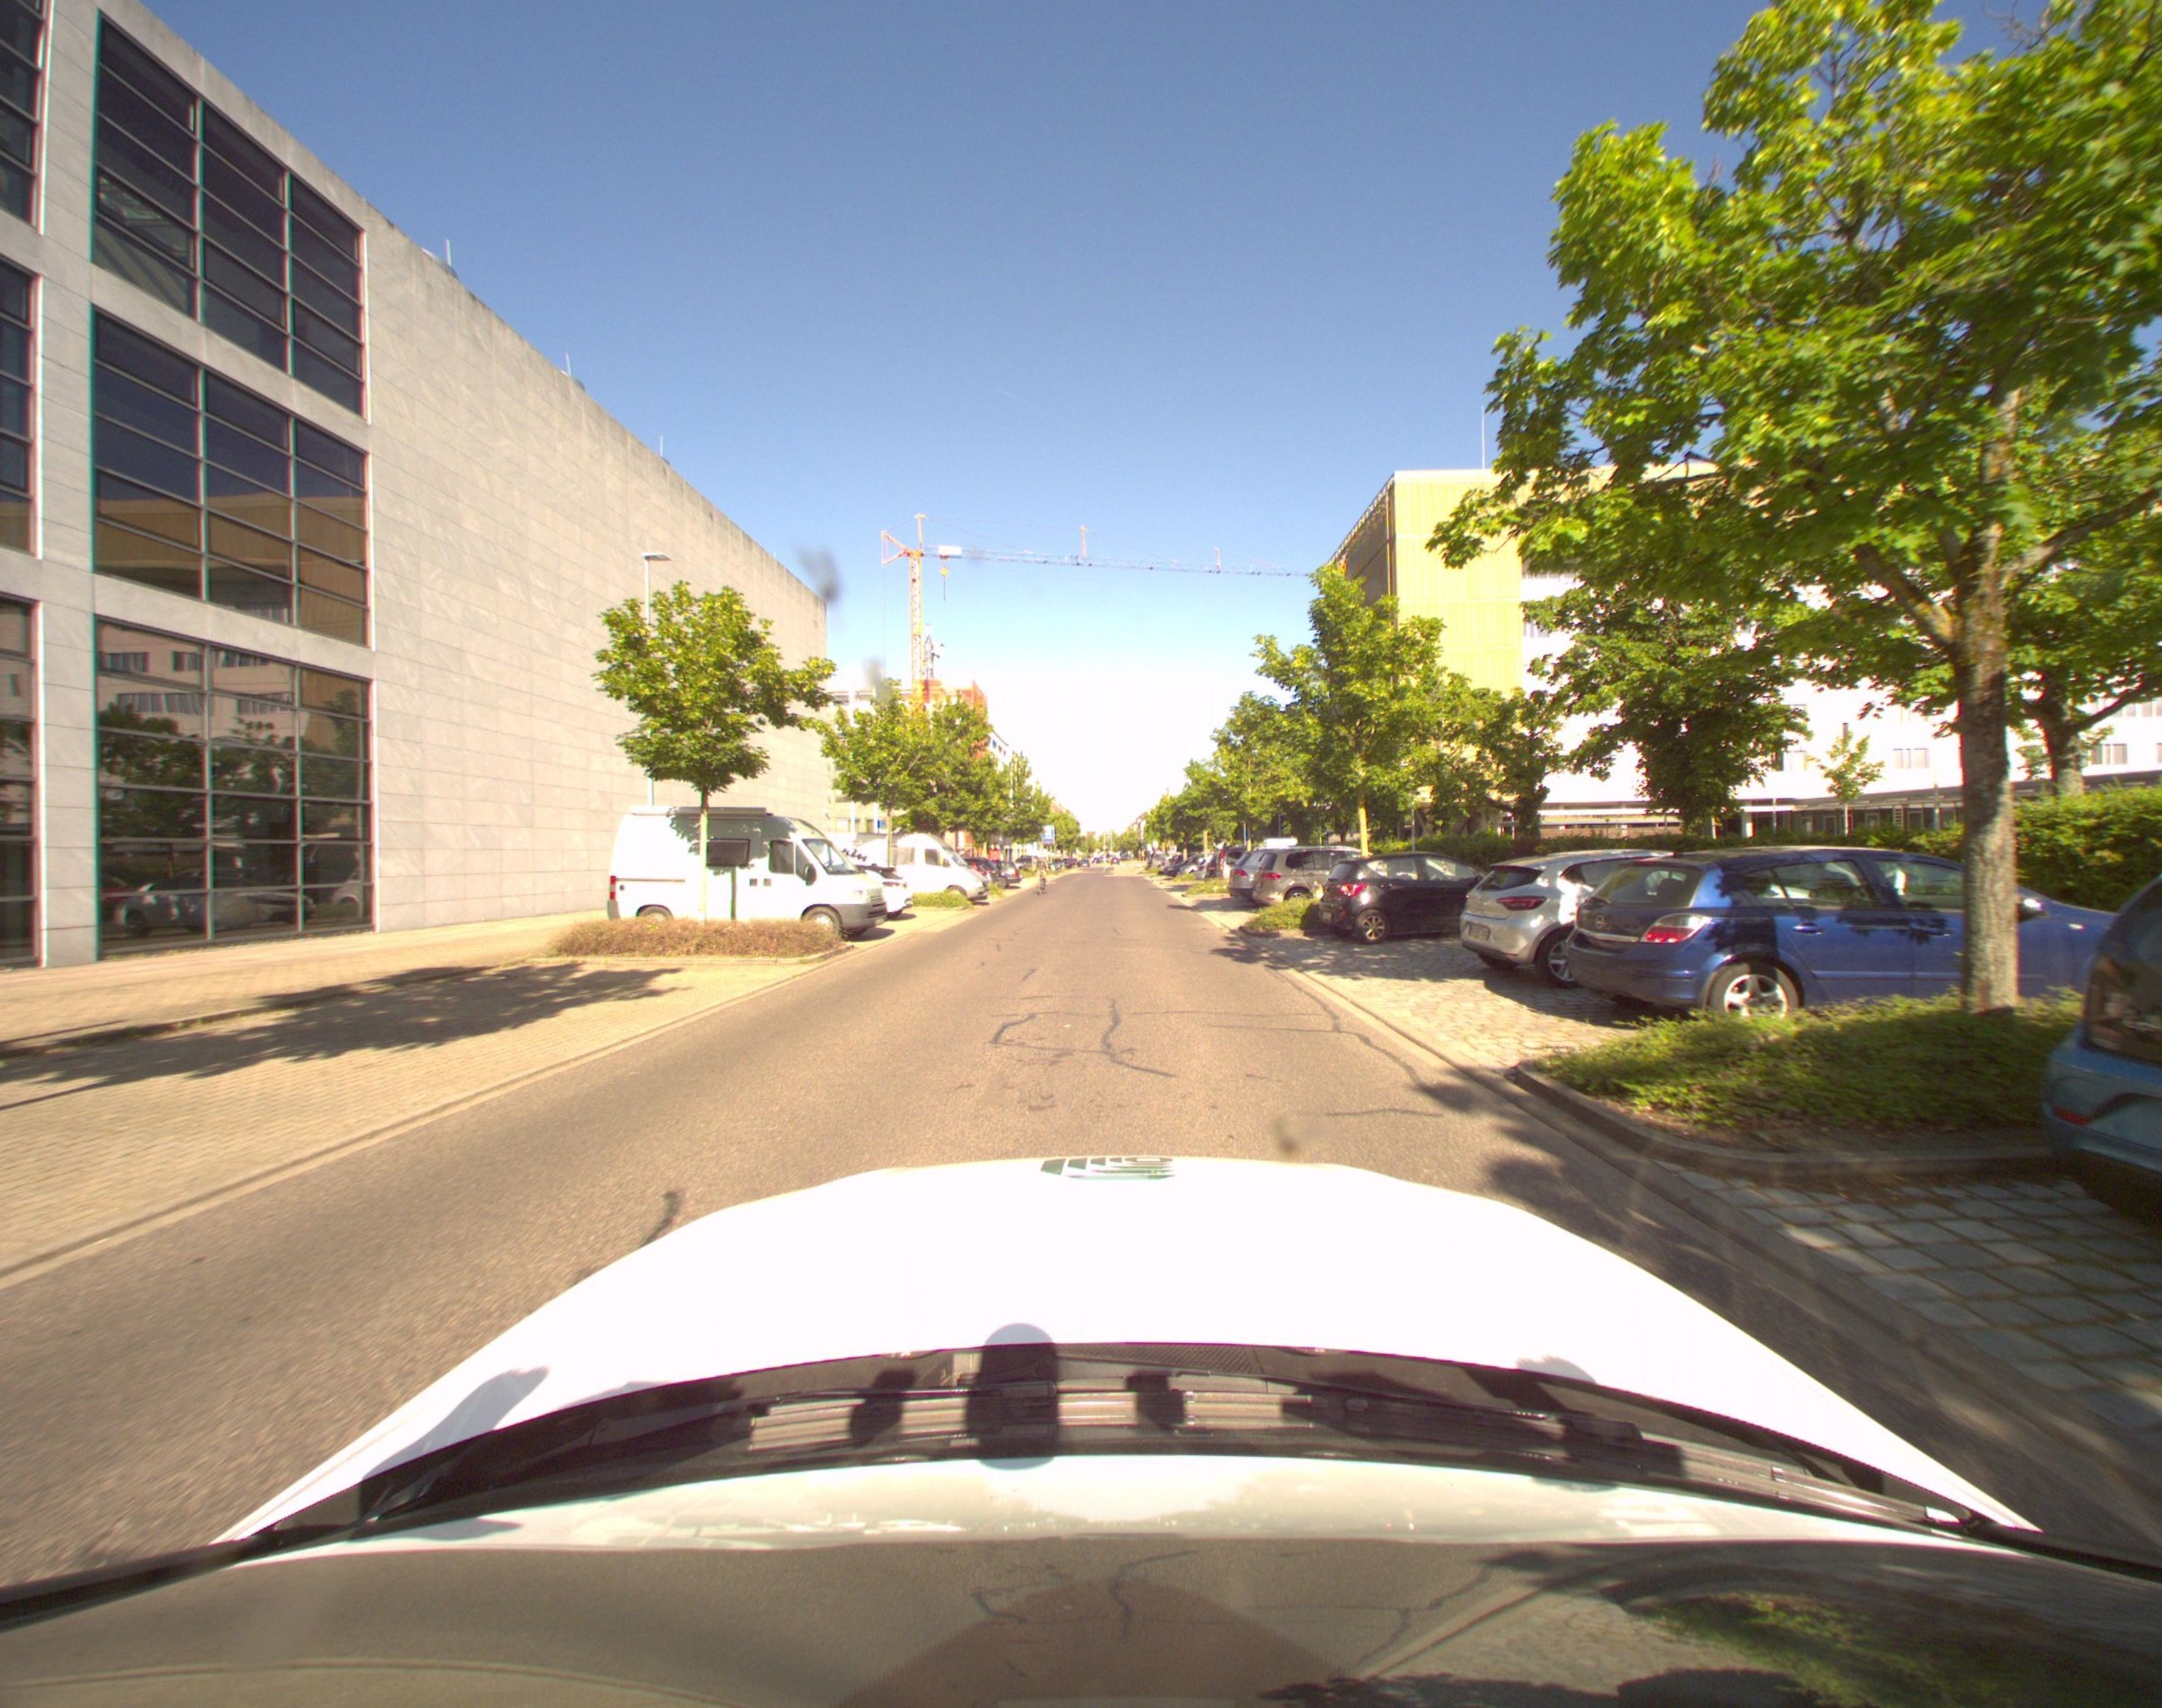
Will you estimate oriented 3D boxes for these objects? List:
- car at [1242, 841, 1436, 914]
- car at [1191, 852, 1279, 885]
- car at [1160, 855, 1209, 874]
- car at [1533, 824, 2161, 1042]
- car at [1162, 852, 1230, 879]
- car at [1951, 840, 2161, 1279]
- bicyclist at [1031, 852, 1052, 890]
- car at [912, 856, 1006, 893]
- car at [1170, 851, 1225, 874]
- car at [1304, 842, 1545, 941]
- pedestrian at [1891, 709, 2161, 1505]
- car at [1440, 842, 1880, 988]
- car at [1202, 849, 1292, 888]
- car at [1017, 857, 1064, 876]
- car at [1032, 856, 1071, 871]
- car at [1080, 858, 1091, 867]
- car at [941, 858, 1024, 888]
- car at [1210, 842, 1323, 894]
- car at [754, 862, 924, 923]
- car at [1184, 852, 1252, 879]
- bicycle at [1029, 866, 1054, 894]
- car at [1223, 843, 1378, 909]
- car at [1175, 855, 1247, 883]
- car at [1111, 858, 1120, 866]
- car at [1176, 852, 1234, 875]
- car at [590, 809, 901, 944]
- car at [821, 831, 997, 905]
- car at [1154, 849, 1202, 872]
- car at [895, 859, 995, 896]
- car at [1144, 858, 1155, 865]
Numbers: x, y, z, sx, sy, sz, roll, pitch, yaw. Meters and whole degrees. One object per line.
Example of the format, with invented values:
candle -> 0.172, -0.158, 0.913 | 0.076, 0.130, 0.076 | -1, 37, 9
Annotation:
car -> 6.496, 0.572, 20.811 | 4.308, 1.608, 1.911 | -2, 0, -2
car -> 7.549, 0.720, 40.257 | 4.044, 1.426, 1.743 | -3, -1, 3
car -> 8.423, 0.865, 66.551 | 3.752, 1.459, 1.818 | -2, -1, 1
car -> 6.280, 0.586, 6.871 | 3.878, 1.497, 1.844 | -2, 0, 3
car -> 7.333, 0.710, 52.214 | 4.130, 1.580, 1.741 | -2, 0, 1
car -> 5.598, 0.661, 2.622 | 3.886, 1.468, 1.621 | -2, 1, 0
bicyclist -> -1.699, 0.741, 35.097 | 0.680, 1.581, 1.063 | -3, -1, 7
car -> -5.651, 0.931, 38.018 | 3.968, 1.664, 1.830 | 0, 0, 5
car -> 8.790, 0.656, 61.777 | 3.971, 1.582, 2.033 | -2, -1, 2
car -> 5.896, 0.630, 14.273 | 3.441, 1.489, 1.747 | -3, -1, 0
pedestrian -> 2.734, 0.555, 1.760 | 0.716, 1.771, 1.168 | -3, -1, 1
car -> 6.397, 0.637, 9.391 | 3.716, 1.416, 1.844 | -2, 0, 3
car -> 7.235, 0.613, 35.666 | 3.594, 1.549, 1.707 | -2, 1, 0
car -> -3.788, 1.156, 77.019 | 4.246, 1.665, 1.600 | -2, 1, 1
car -> -3.327, 1.080, 91.901 | 4.319, 1.474, 1.817 | -2, 1, -2
car -> 0.738, 1.541, 144.385 | 1.805, 1.474, 4.112 | -2, 1, 1
car -> -5.110, 0.979, 42.547 | 4.118, 1.492, 1.868 | 1, 1, -1
car -> 7.464, 0.530, 33.038 | 4.105, 1.927, 1.979 | -2, 1, 0
car -> -6.266, 0.969, 21.374 | 3.813, 1.472, 1.850 | 1, 0, 4
car -> 8.403, 0.694, 50.091 | 3.850, 1.504, 1.652 | -1, 0, -1
bicycle -> -1.689, 1.119, 35.041 | 0.694, 1.111, 2.083 | -3, 0, 7
car -> 6.190, 0.580, 23.302 | 3.886, 1.695, 1.940 | -2, 1, 0
car -> 7.518, 0.874, 47.307 | 3.886, 1.486, 1.743 | -1, 0, 1
car -> 7.343, 1.620, 171.046 | 1.804, 1.474, 4.114 | -1, 1, 3
car -> 8.918, 0.664, 58.992 | 3.971, 1.538, 1.863 | -2, -1, 2
car -> -6.473, 0.411, 16.168 | 5.226, 2.418, 2.125 | 1, 0, 3
car -> -5.832, 0.448, 28.004 | 5.526, 2.410, 1.990 | 0, 0, 3
car -> 8.372, 0.564, 70.474 | 3.971, 1.879, 1.684 | -2, 1, 2
car -> -5.896, 1.008, 35.680 | 3.970, 1.517, 1.857 | -1, -1, 3
car -> 14.739, 1.647, 174.636 | 1.983, 1.474, 4.110 | -2, 1, 0
